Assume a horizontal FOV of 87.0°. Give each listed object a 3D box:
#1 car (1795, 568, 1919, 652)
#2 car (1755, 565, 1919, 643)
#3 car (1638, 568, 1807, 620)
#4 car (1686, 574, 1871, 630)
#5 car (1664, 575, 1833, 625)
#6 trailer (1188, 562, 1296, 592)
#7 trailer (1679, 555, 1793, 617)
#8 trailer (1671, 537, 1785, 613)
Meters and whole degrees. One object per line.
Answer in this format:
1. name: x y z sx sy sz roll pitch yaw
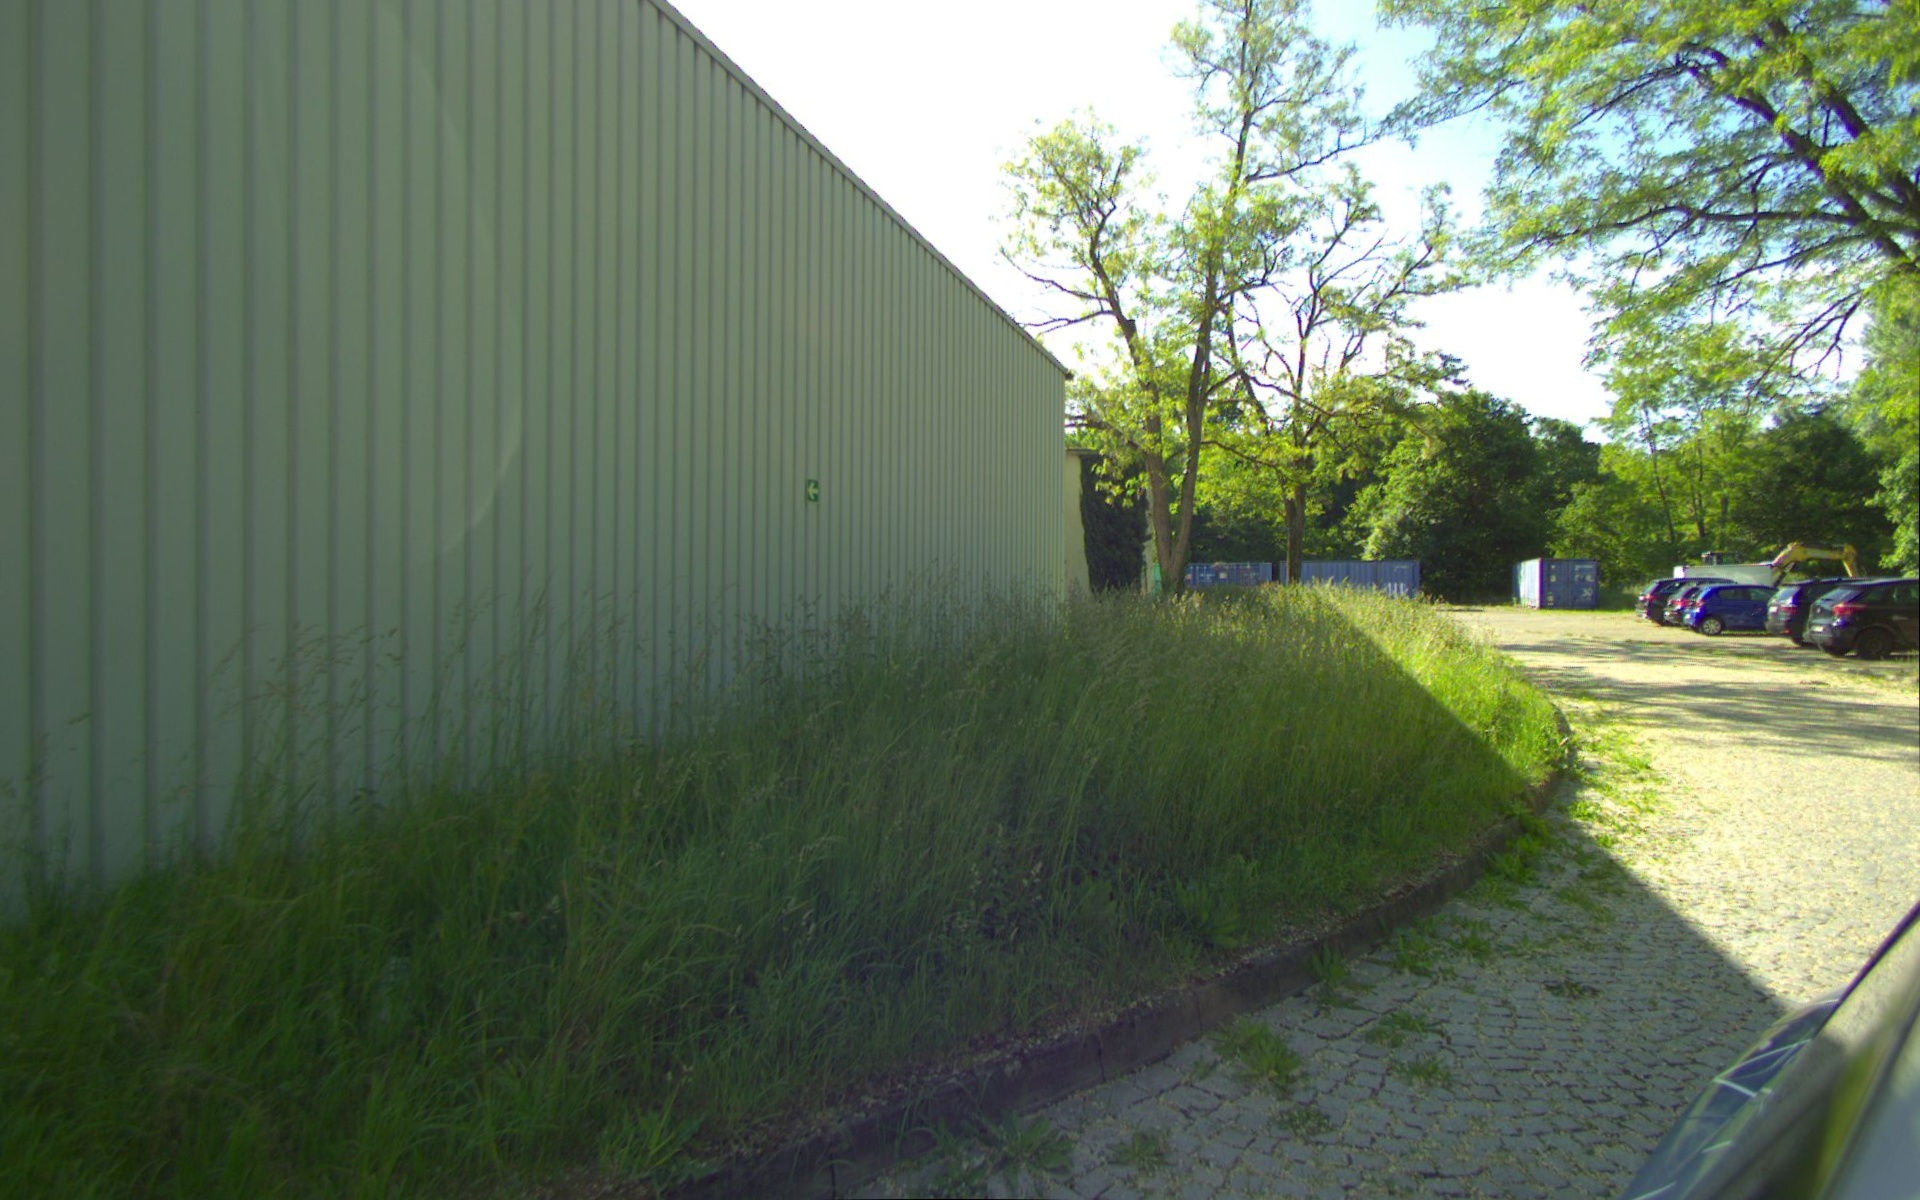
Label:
1. car: 20.238 0.136 20.821 4.220 1.609 1.817 -4 -1 21
2. car: 21.631 0.053 23.732 4.220 1.651 1.868 -3 0 21
3. car: 25.112 -0.208 33.529 4.087 1.609 1.954 -1 1 25
4. car: 23.199 0.050 28.860 3.751 1.477 1.770 -1 1 26
5. car: 24.222 -0.013 31.270 3.750 1.429 1.879 -1 1 25
6. trailer: 13.925 -1.157 49.894 4.811 1.432 2.627 1 2 25
7. trailer: 27.185 -0.474 35.568 2.822 2.076 1.808 -1 1 27
8. trailer: 28.405 -0.908 37.556 2.821 2.570 2.246 -4 0 27
